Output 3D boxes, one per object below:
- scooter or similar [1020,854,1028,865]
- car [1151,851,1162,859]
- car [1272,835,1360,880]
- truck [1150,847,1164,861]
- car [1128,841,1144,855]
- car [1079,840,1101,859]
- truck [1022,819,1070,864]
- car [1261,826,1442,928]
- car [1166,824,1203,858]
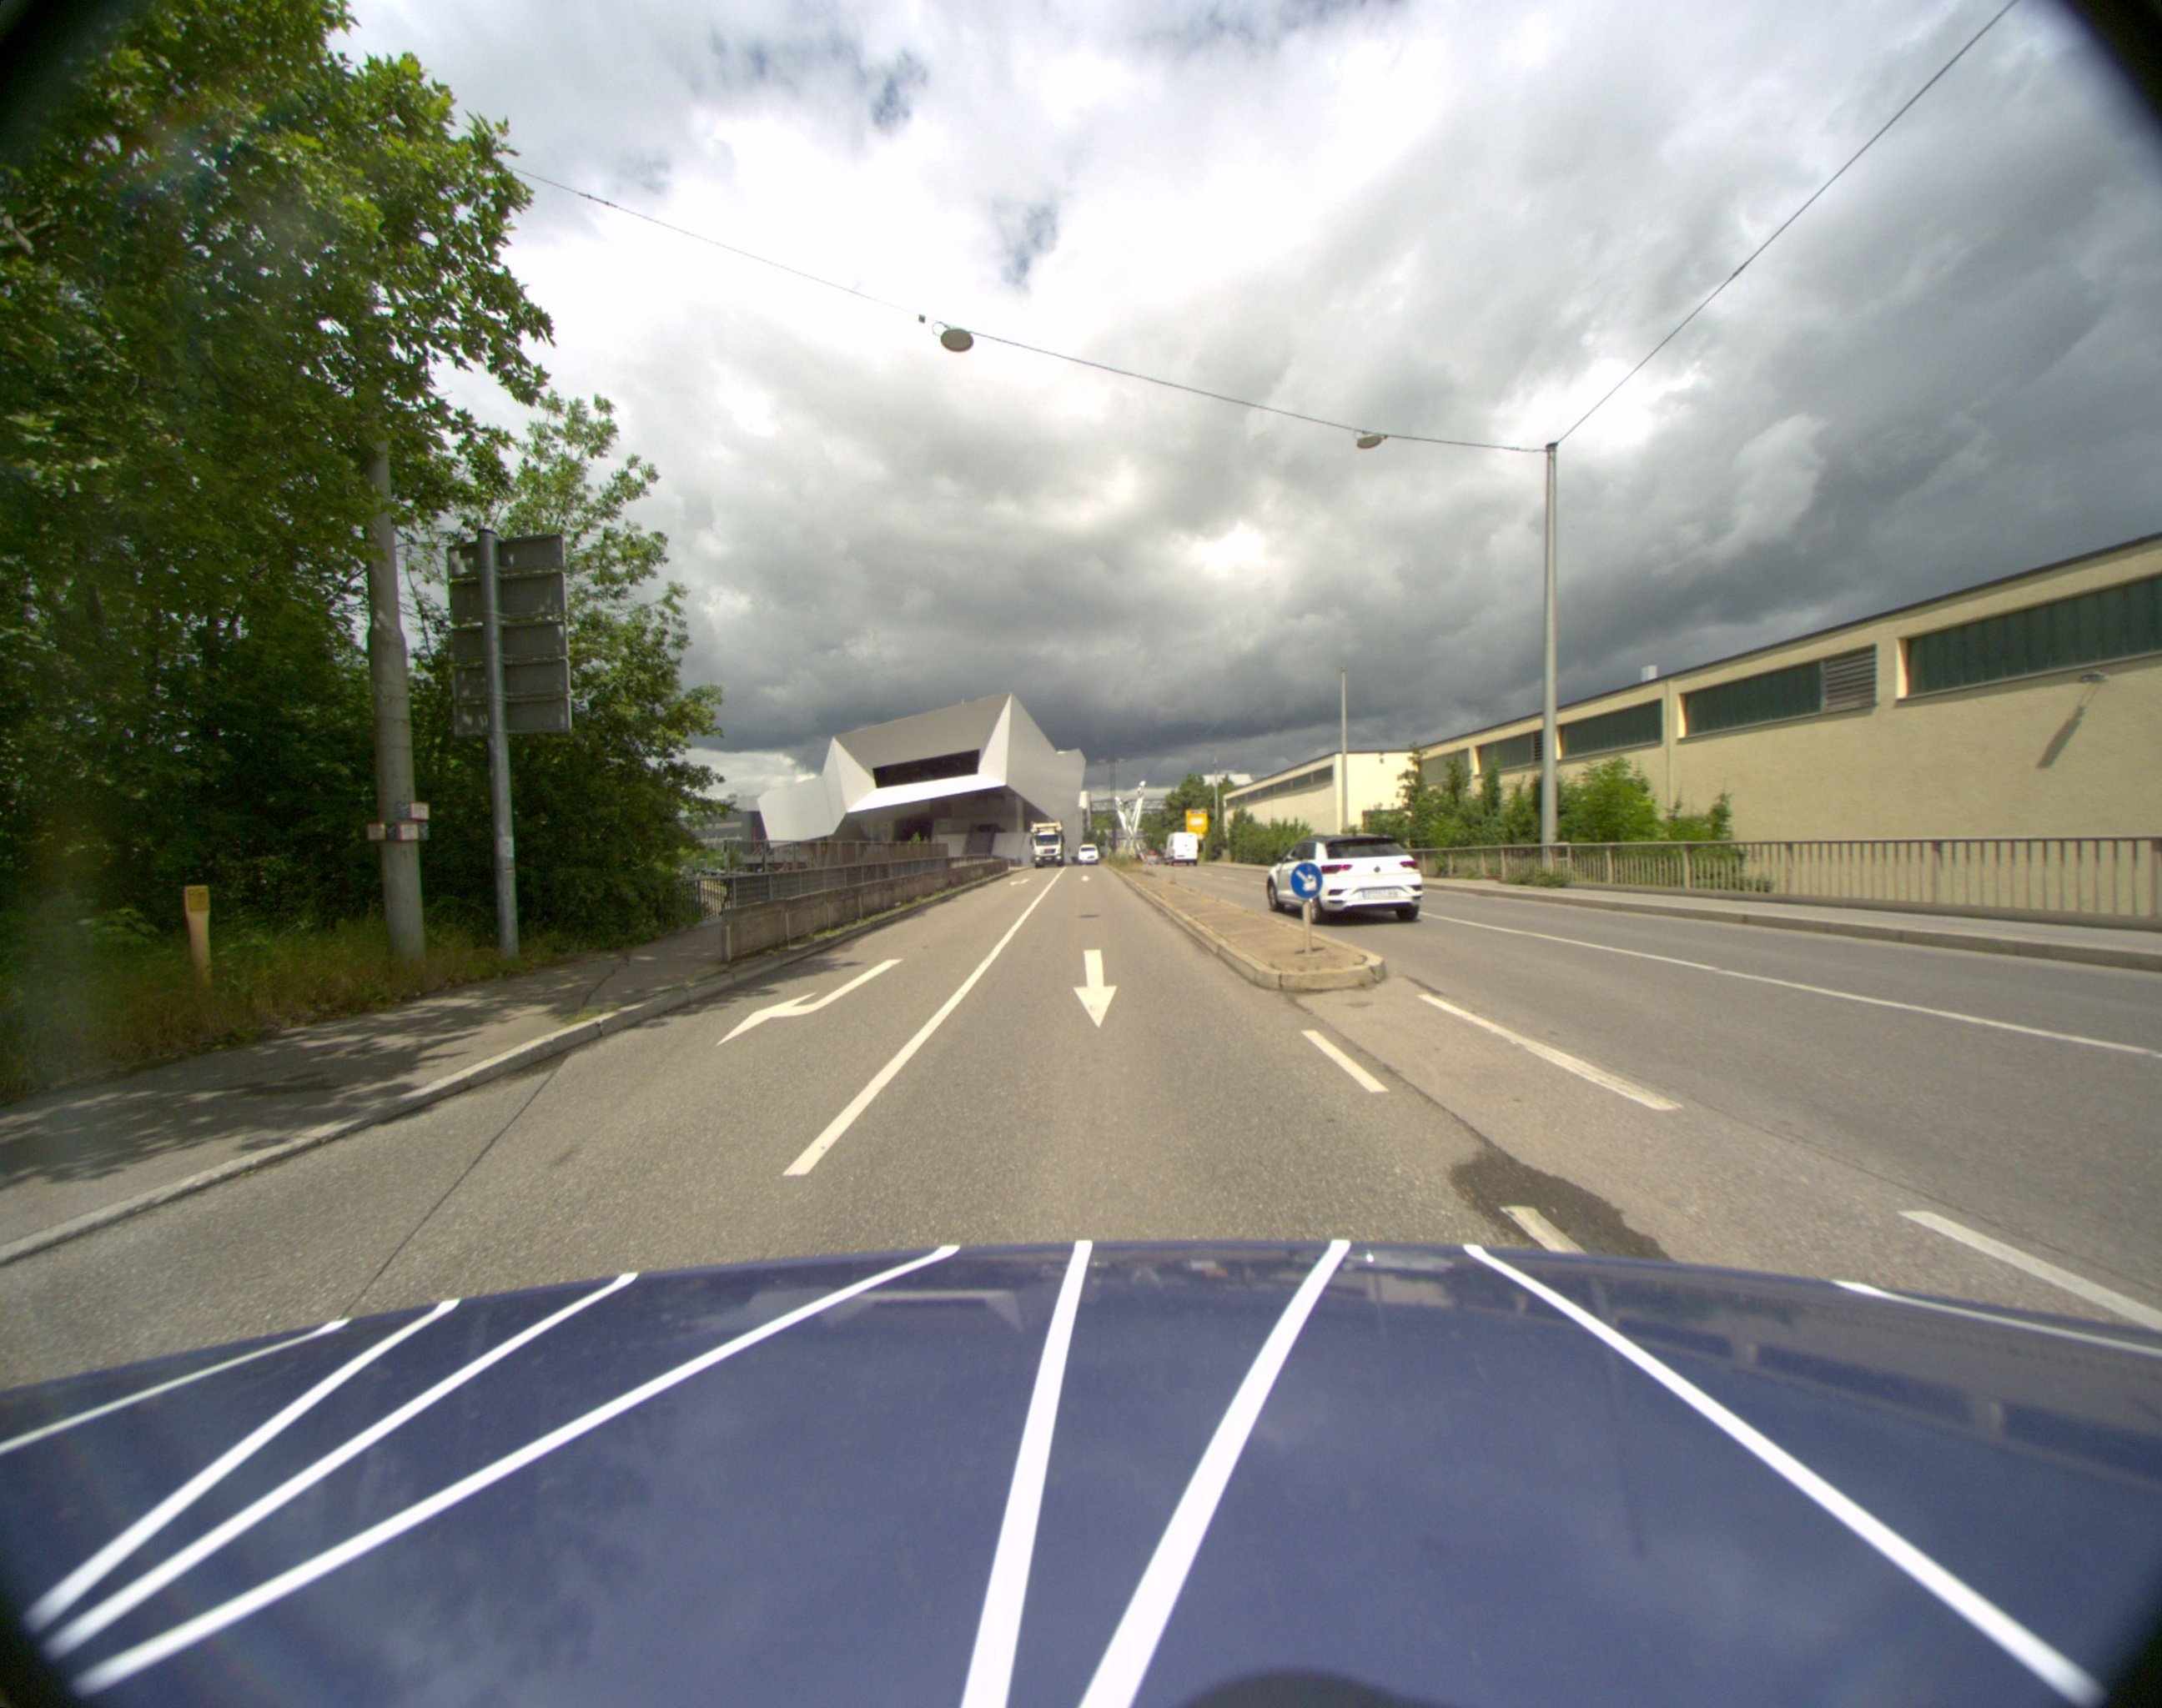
[{"bbox_3d":[-6.359,0.661,84.793,0.655,1.206,1.858,-1,-1,1],"label":"scooter or similar"},{"bbox_3d":[12.431,0.136,124.969,1.758,1.268,4.001,1,0,4],"label":"car"},{"bbox_3d":[7.724,0.087,25.381,1.641,1.355,4.194,-1,1,0],"label":"car"},{"bbox_3d":[18.680,0.068,186.117,2.861,2.839,9.387,-2,-3,9],"label":"truck"},{"bbox_3d":[7.928,-0.862,110.369,1.998,1.877,4.869,-2,0,1],"label":"car"},{"bbox_3d":[0.881,-0.446,74.807,1.986,1.702,4.760,-2,1,1],"label":"car"},{"bbox_3d":[-2.956,-0.963,68.079,2.842,3.668,10.758,-2,-1,5],"label":"truck"},{"bbox_3d":[4.790,0.327,14.146,1.815,1.551,4.206,-2,1,0],"label":"car"},{"bbox_3d":[8.192,-1.040,60.979,2.072,2.556,6.820,0,1,0],"label":"car"}]
